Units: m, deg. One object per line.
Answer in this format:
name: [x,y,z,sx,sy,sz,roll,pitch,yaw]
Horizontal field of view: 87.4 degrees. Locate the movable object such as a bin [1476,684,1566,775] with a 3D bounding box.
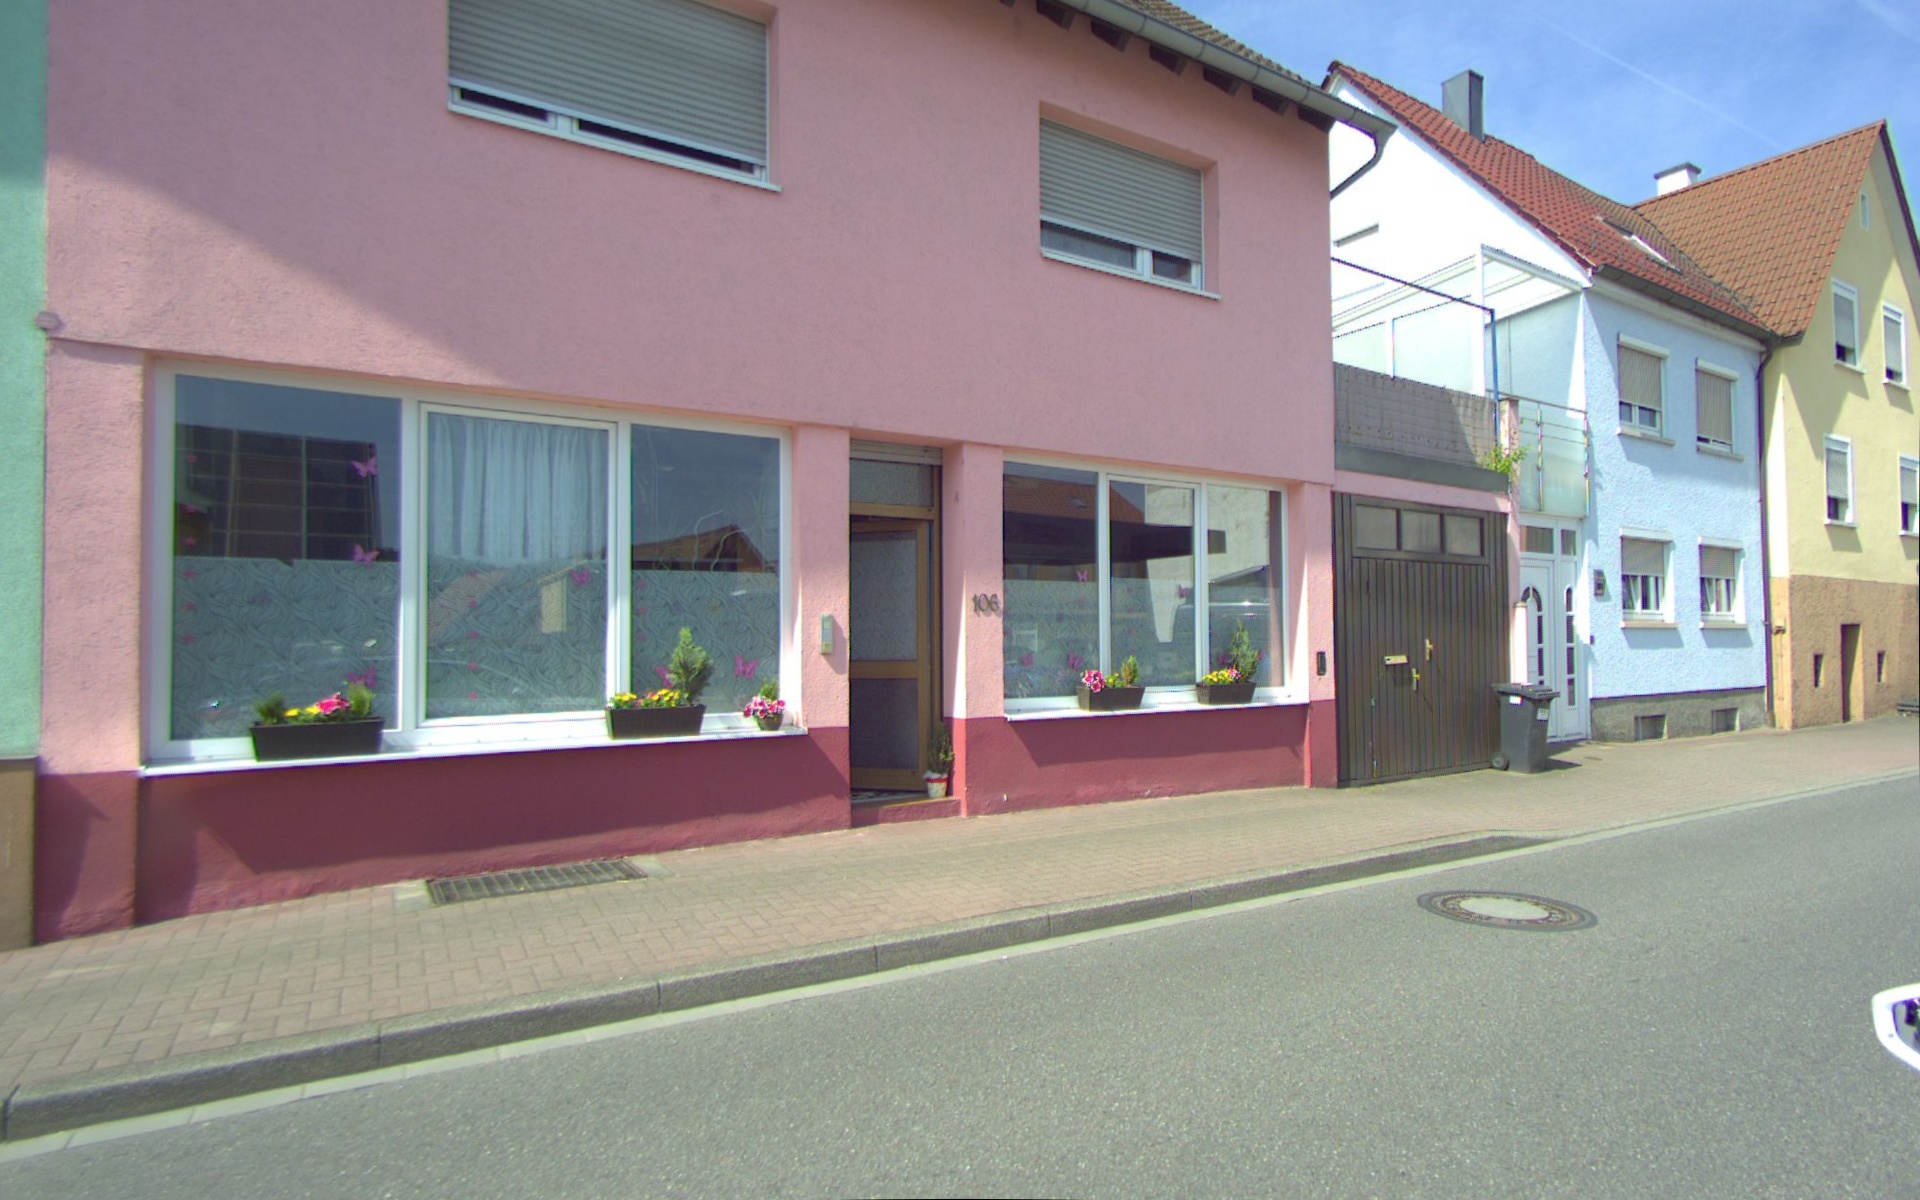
movable object such as a bin: [6.132,1.400,10.988,0.592,0.891,0.627,2,0,-30]
